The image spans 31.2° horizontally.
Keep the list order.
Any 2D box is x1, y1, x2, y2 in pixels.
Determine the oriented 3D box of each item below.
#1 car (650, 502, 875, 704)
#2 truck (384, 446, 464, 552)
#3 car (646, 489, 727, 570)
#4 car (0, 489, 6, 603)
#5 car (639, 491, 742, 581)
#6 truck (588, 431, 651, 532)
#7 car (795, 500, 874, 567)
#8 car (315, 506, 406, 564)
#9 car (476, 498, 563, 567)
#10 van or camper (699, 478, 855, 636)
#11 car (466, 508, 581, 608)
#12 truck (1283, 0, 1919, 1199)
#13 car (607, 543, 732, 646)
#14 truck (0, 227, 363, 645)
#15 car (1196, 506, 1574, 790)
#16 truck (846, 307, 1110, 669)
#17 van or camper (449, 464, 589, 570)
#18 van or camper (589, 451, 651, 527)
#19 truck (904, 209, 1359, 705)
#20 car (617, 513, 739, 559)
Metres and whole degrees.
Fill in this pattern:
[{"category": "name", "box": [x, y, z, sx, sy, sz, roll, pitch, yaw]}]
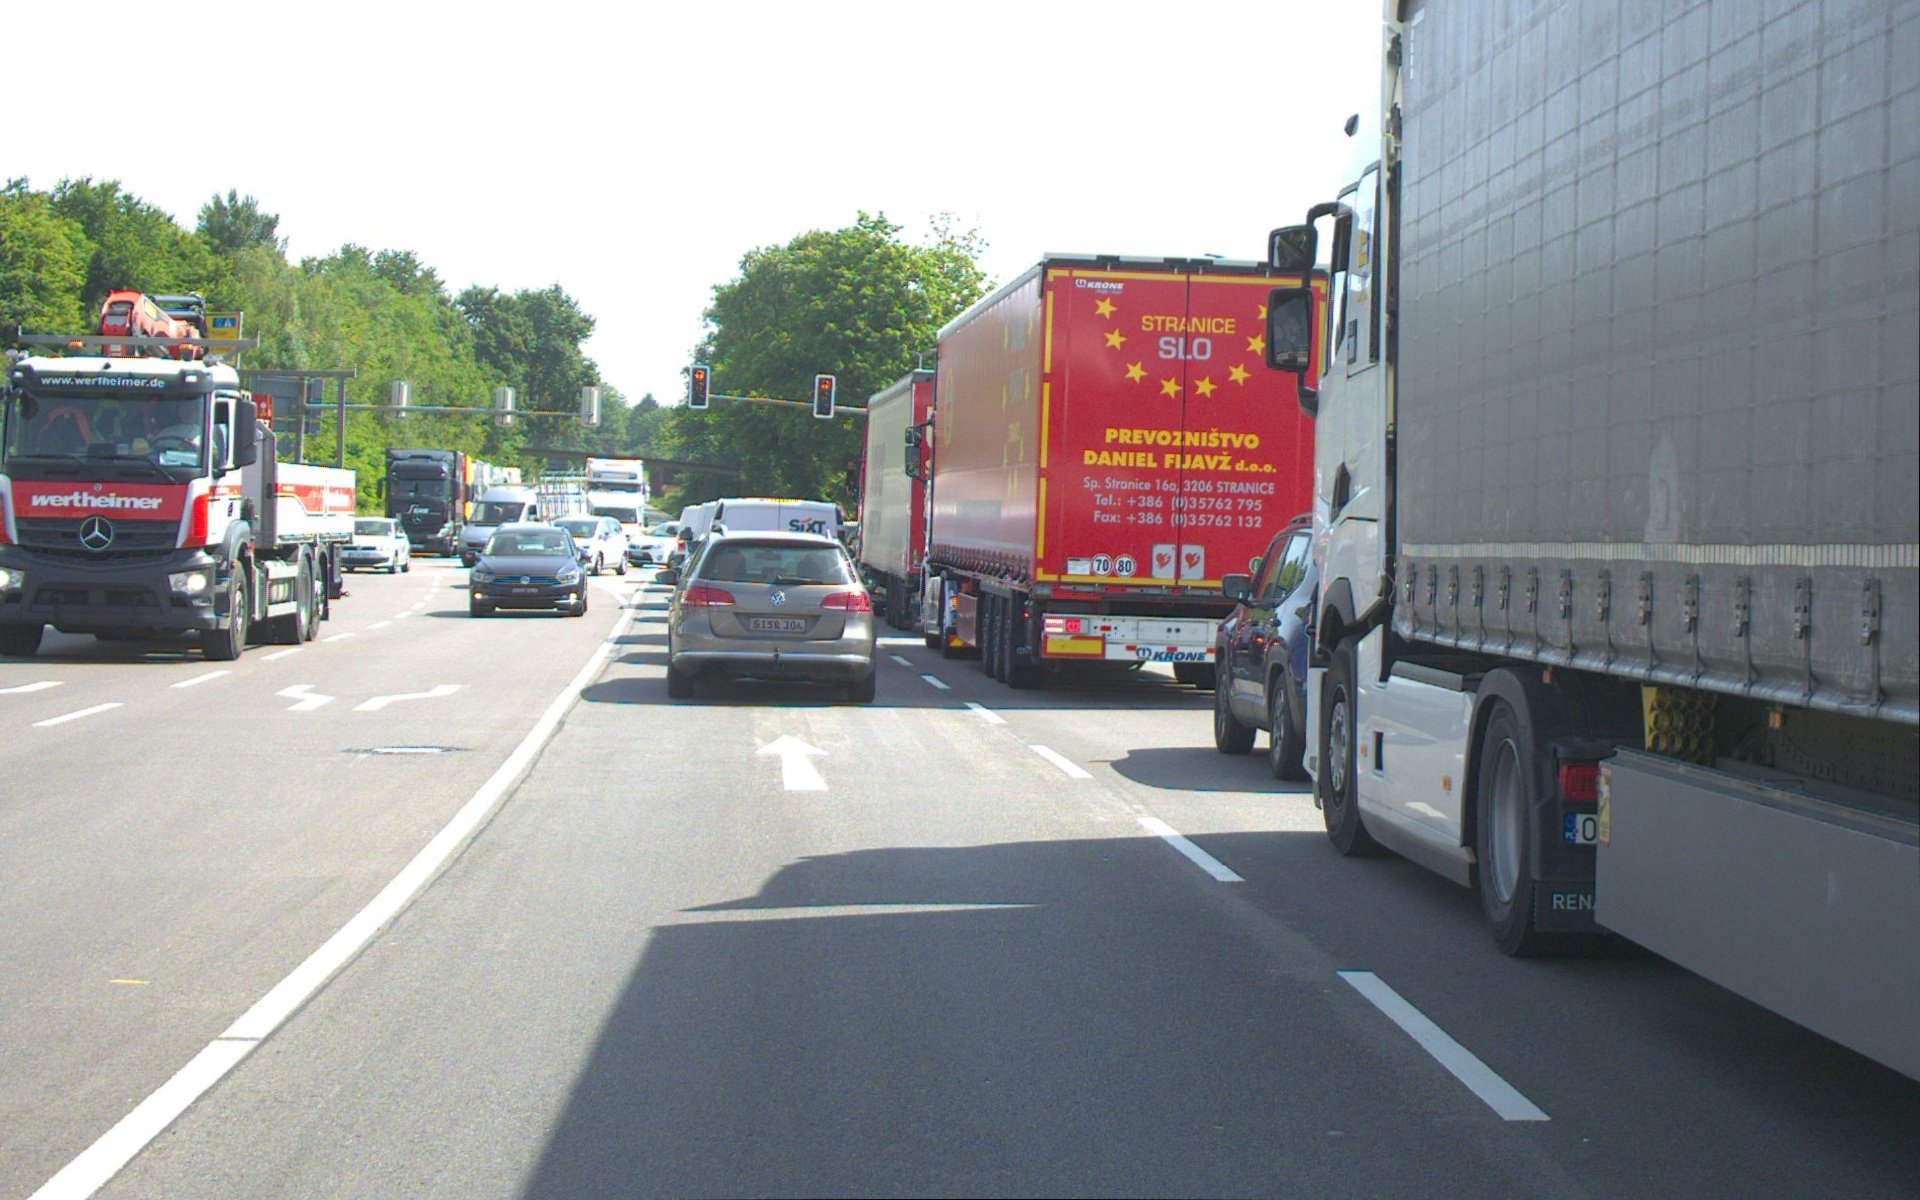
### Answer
[{"category": "car", "box": [-1.670, -0.009, 30.049, 1.790, 1.633, 3.504, 1, 1, -1]}, {"category": "truck", "box": [-19.676, -3.725, 126.515, 2.812, 3.773, 6.992, 0, 2, -8]}, {"category": "car", "box": [-6.761, -1.736, 85.167, 1.727, 1.902, 3.312, 2, 1, -1]}, {"category": "car", "box": [-14.754, -0.745, 45.494, 3.816, 1.534, 1.843, 1, 1, -5]}, {"category": "car", "box": [-4.872, -1.152, 62.408, 1.726, 1.514, 3.313, 2, 1, -3]}, {"category": "truck", "box": [-14.879, -5.181, 150.568, 2.552, 4.292, 7.597, 0, 2, -4]}, {"category": "car", "box": [-3.068, -1.603, 83.557, 1.726, 1.514, 3.313, 2, 1, -5]}, {"category": "car", "box": [-15.652, -1.703, 89.920, 1.836, 1.443, 4.082, 1, 1, -3]}, {"category": "car", "box": [-10.283, -1.599, 80.287, 1.909, 1.516, 4.782, 1, 1, -7]}, {"category": "van or camper", "box": [-2.409, -0.582, 44.469, 1.852, 1.899, 3.785, 2, 1, -5]}, {"category": "car", "box": [-7.239, -0.730, 56.965, 1.806, 1.554, 4.388, 1, 2, -8]}, {"category": "truck", "box": [3.374, -0.769, 9.249, 2.890, 4.251, 16.711, 1, 1, -2]}, {"category": "car", "box": [-4.562, -0.105, 54.289, 1.727, 1.514, 3.312, 2, 1, -2]}, {"category": "truck", "box": [-9.120, -1.800, 39.941, 2.956, 4.194, 10.648, 0, 2, -3]}, {"category": "car", "box": [2.686, 0.234, 22.613, 1.819, 1.679, 4.001, 1, 2, -2]}, {"category": "truck", "box": [-0.020, -1.878, 58.909, 3.062, 5.202, 17.010, 2, 1, -4]}, {"category": "van or camper", "box": [-13.296, -2.475, 104.153, 2.209, 3.045, 5.899, 2, 1, 13]}, {"category": "van or camper", "box": [-13.490, -4.397, 136.783, 2.224, 2.831, 5.712, 2, 1, -4]}, {"category": "truck", "box": [1.377, -1.484, 38.495, 2.956, 4.255, 16.587, 2, 1, -4]}, {"category": "car", "box": [-9.277, -2.110, 113.311, 1.716, 1.443, 4.072, 2, 2, 37]}]
